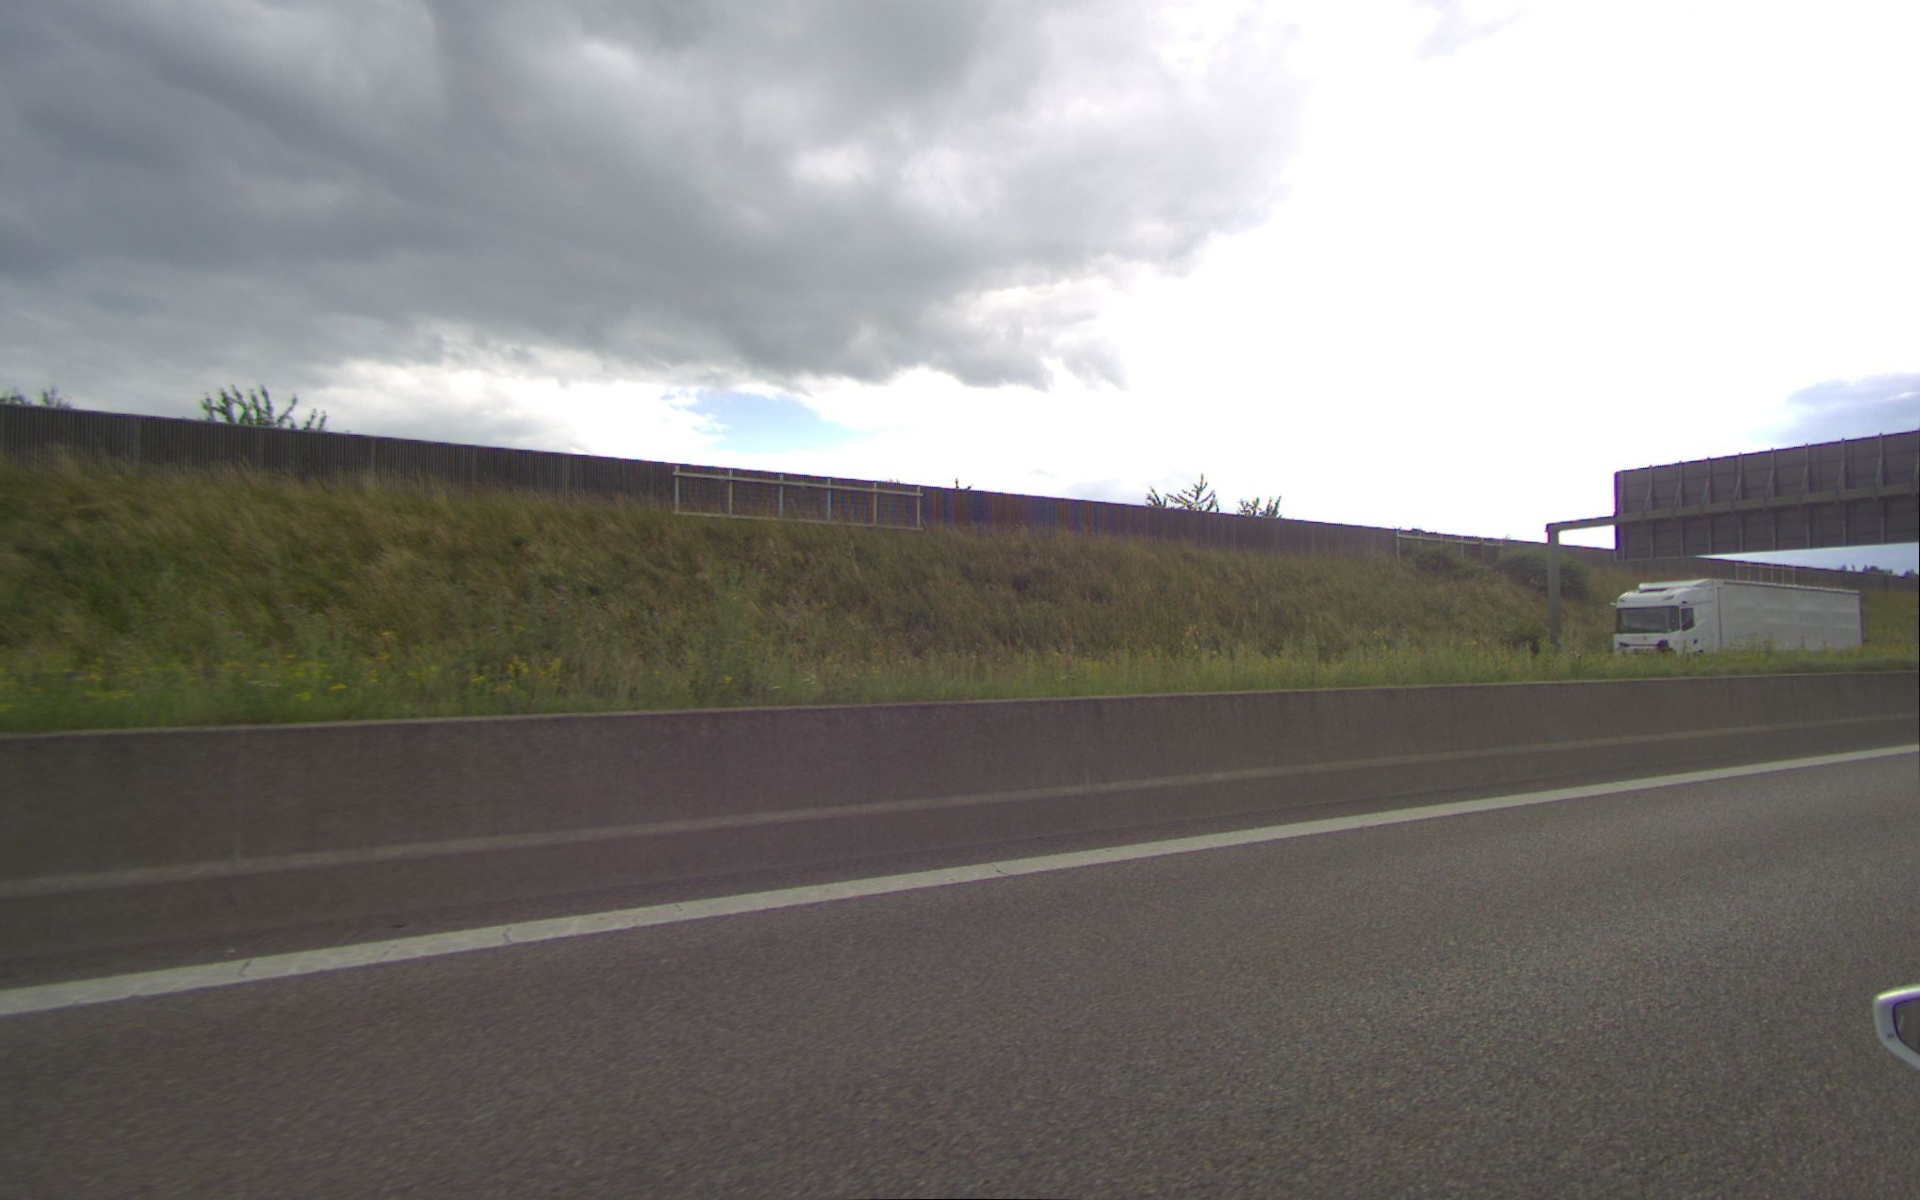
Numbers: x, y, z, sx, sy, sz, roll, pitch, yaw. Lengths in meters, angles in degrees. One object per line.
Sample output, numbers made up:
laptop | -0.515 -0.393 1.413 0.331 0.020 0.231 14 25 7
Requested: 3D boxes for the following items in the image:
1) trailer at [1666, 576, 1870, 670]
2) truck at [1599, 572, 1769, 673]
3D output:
trailer | 35.600 1.077 44.051 12.118 3.725 2.764 1 -2 -30
truck | 29.070 0.936 40.239 7.400 3.725 2.714 1 -2 -30
